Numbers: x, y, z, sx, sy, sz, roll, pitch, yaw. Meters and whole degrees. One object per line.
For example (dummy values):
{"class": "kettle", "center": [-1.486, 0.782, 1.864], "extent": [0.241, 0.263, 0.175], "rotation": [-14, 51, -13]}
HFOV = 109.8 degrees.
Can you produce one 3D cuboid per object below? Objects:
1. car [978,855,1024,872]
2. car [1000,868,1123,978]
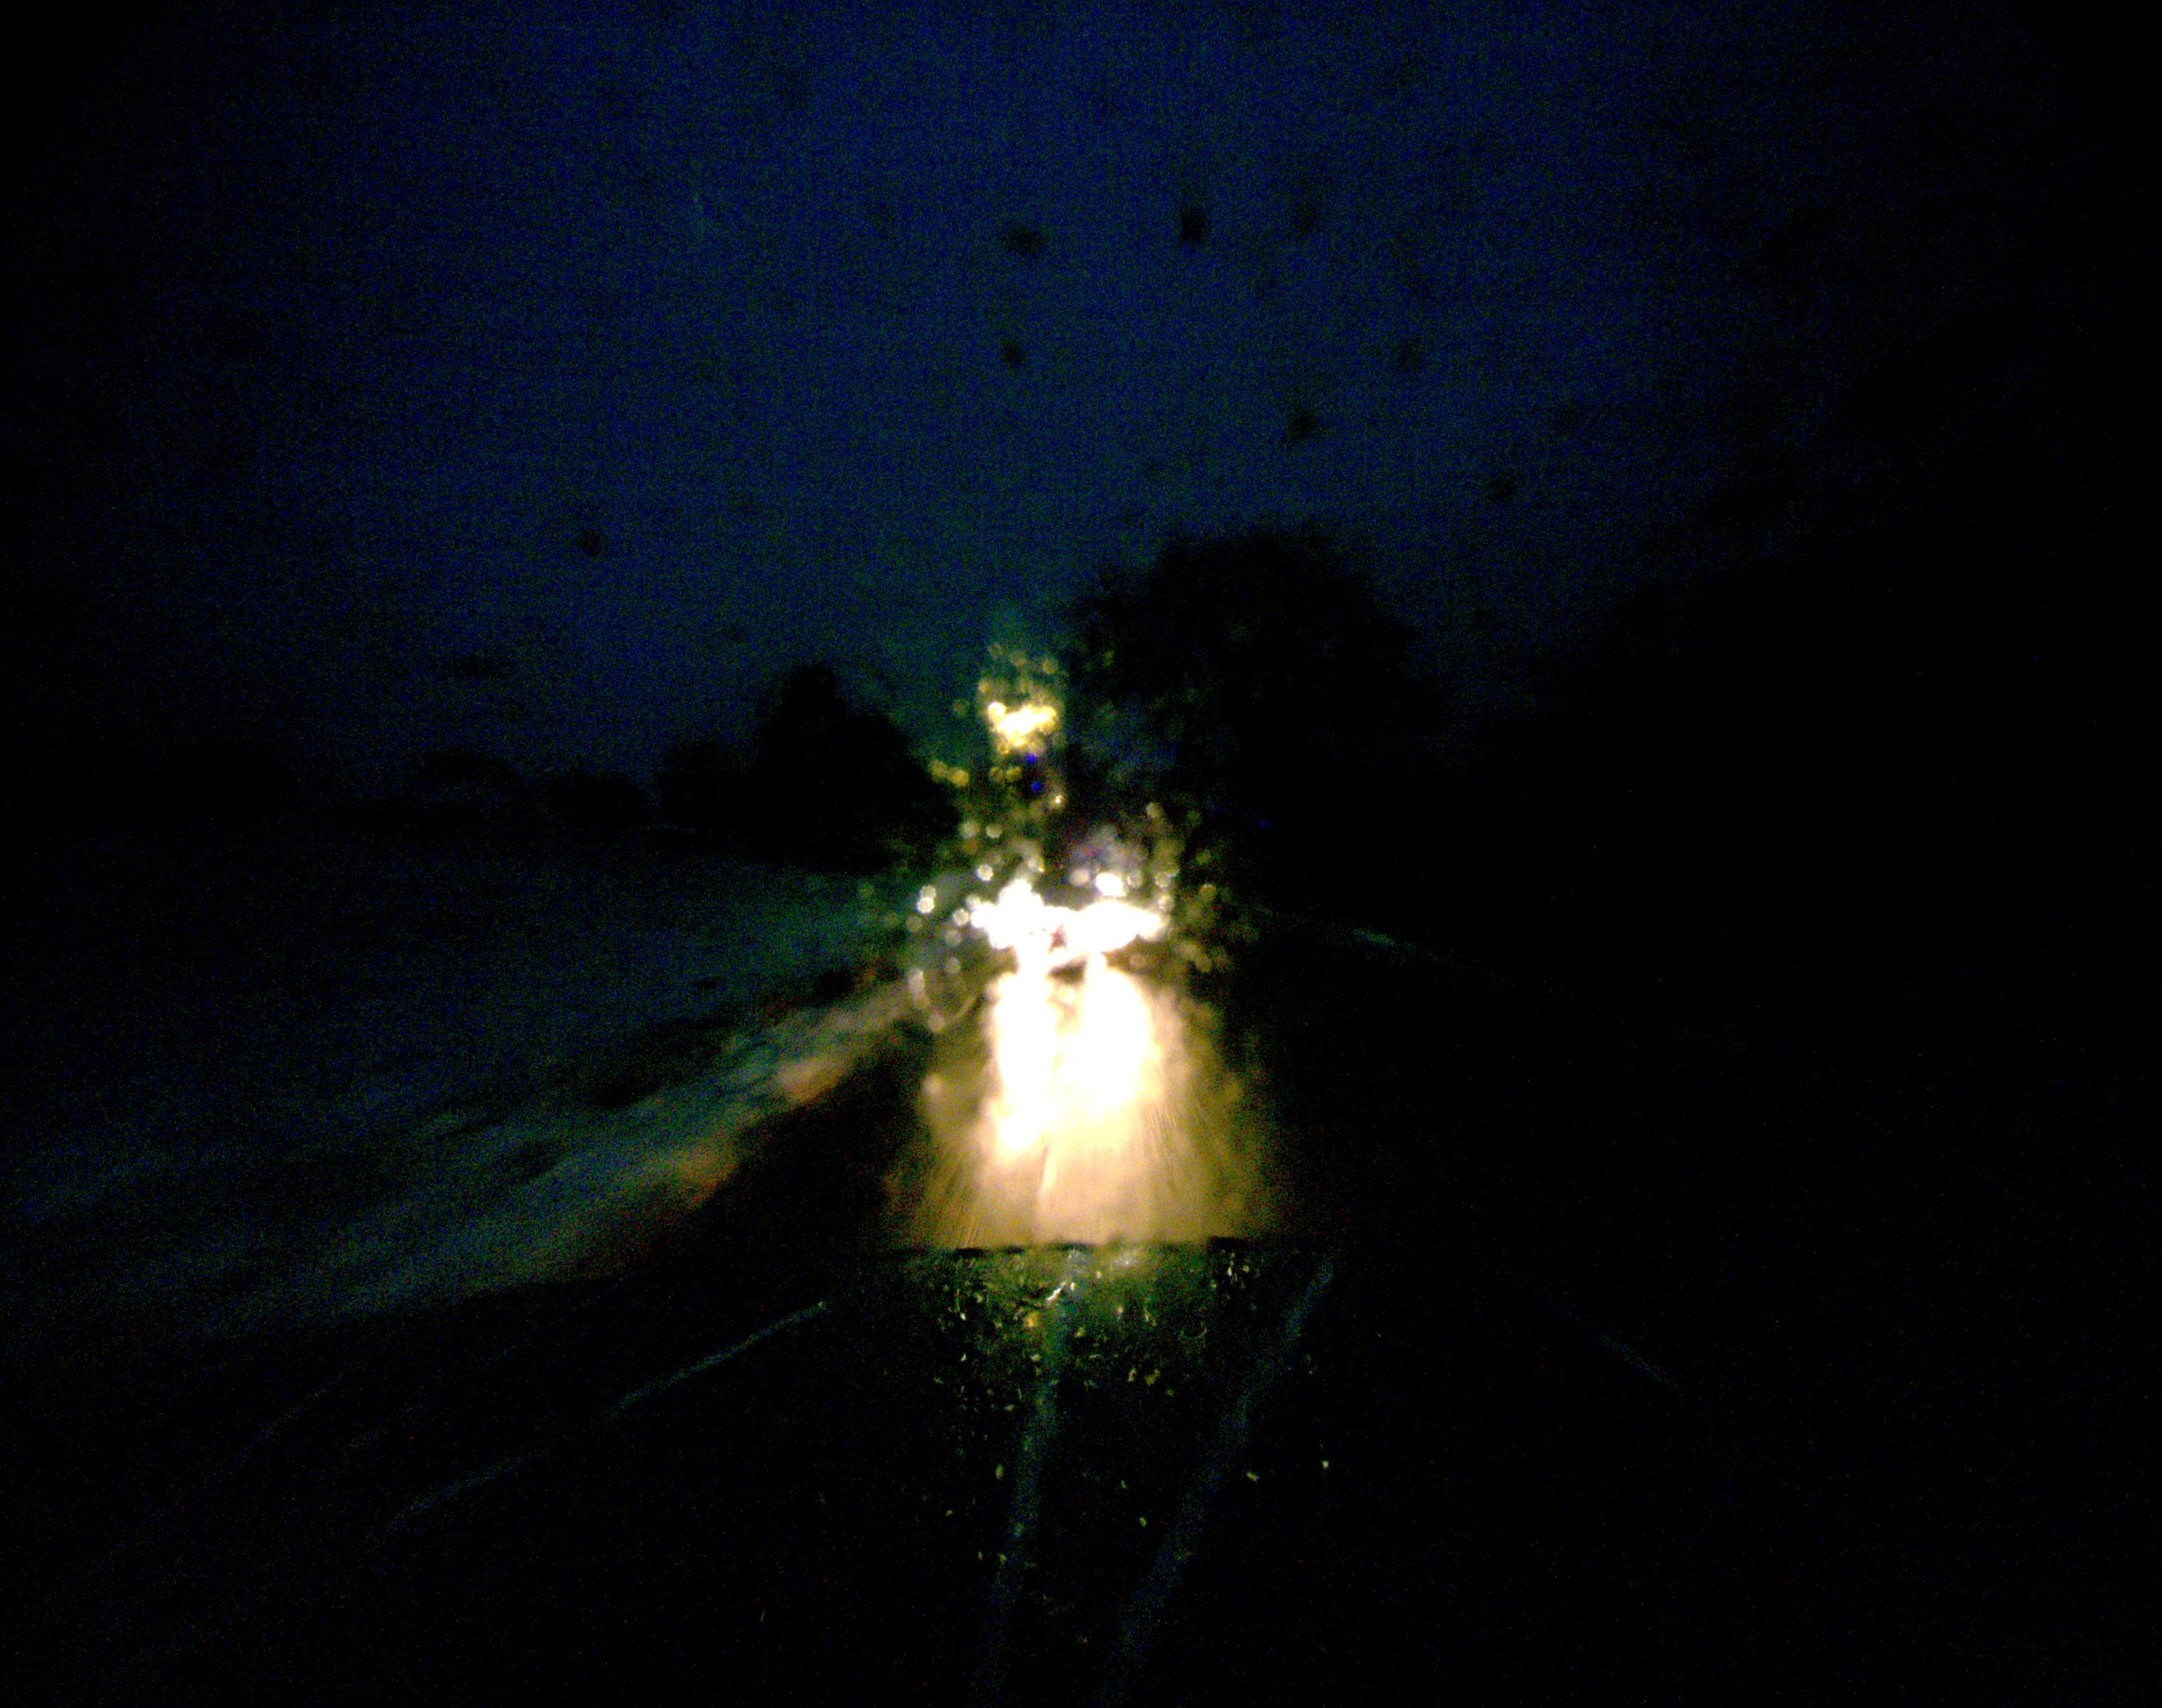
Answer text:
{"class": "car", "center": [-8.339, 0.949, 79.354], "extent": [4.403, 1.647, 1.864], "rotation": [1, -1, 9]}
{"class": "car", "center": [-0.262, 1.015, 12.585], "extent": [1.650, 1.446, 3.681], "rotation": [-4, -1, 0]}
